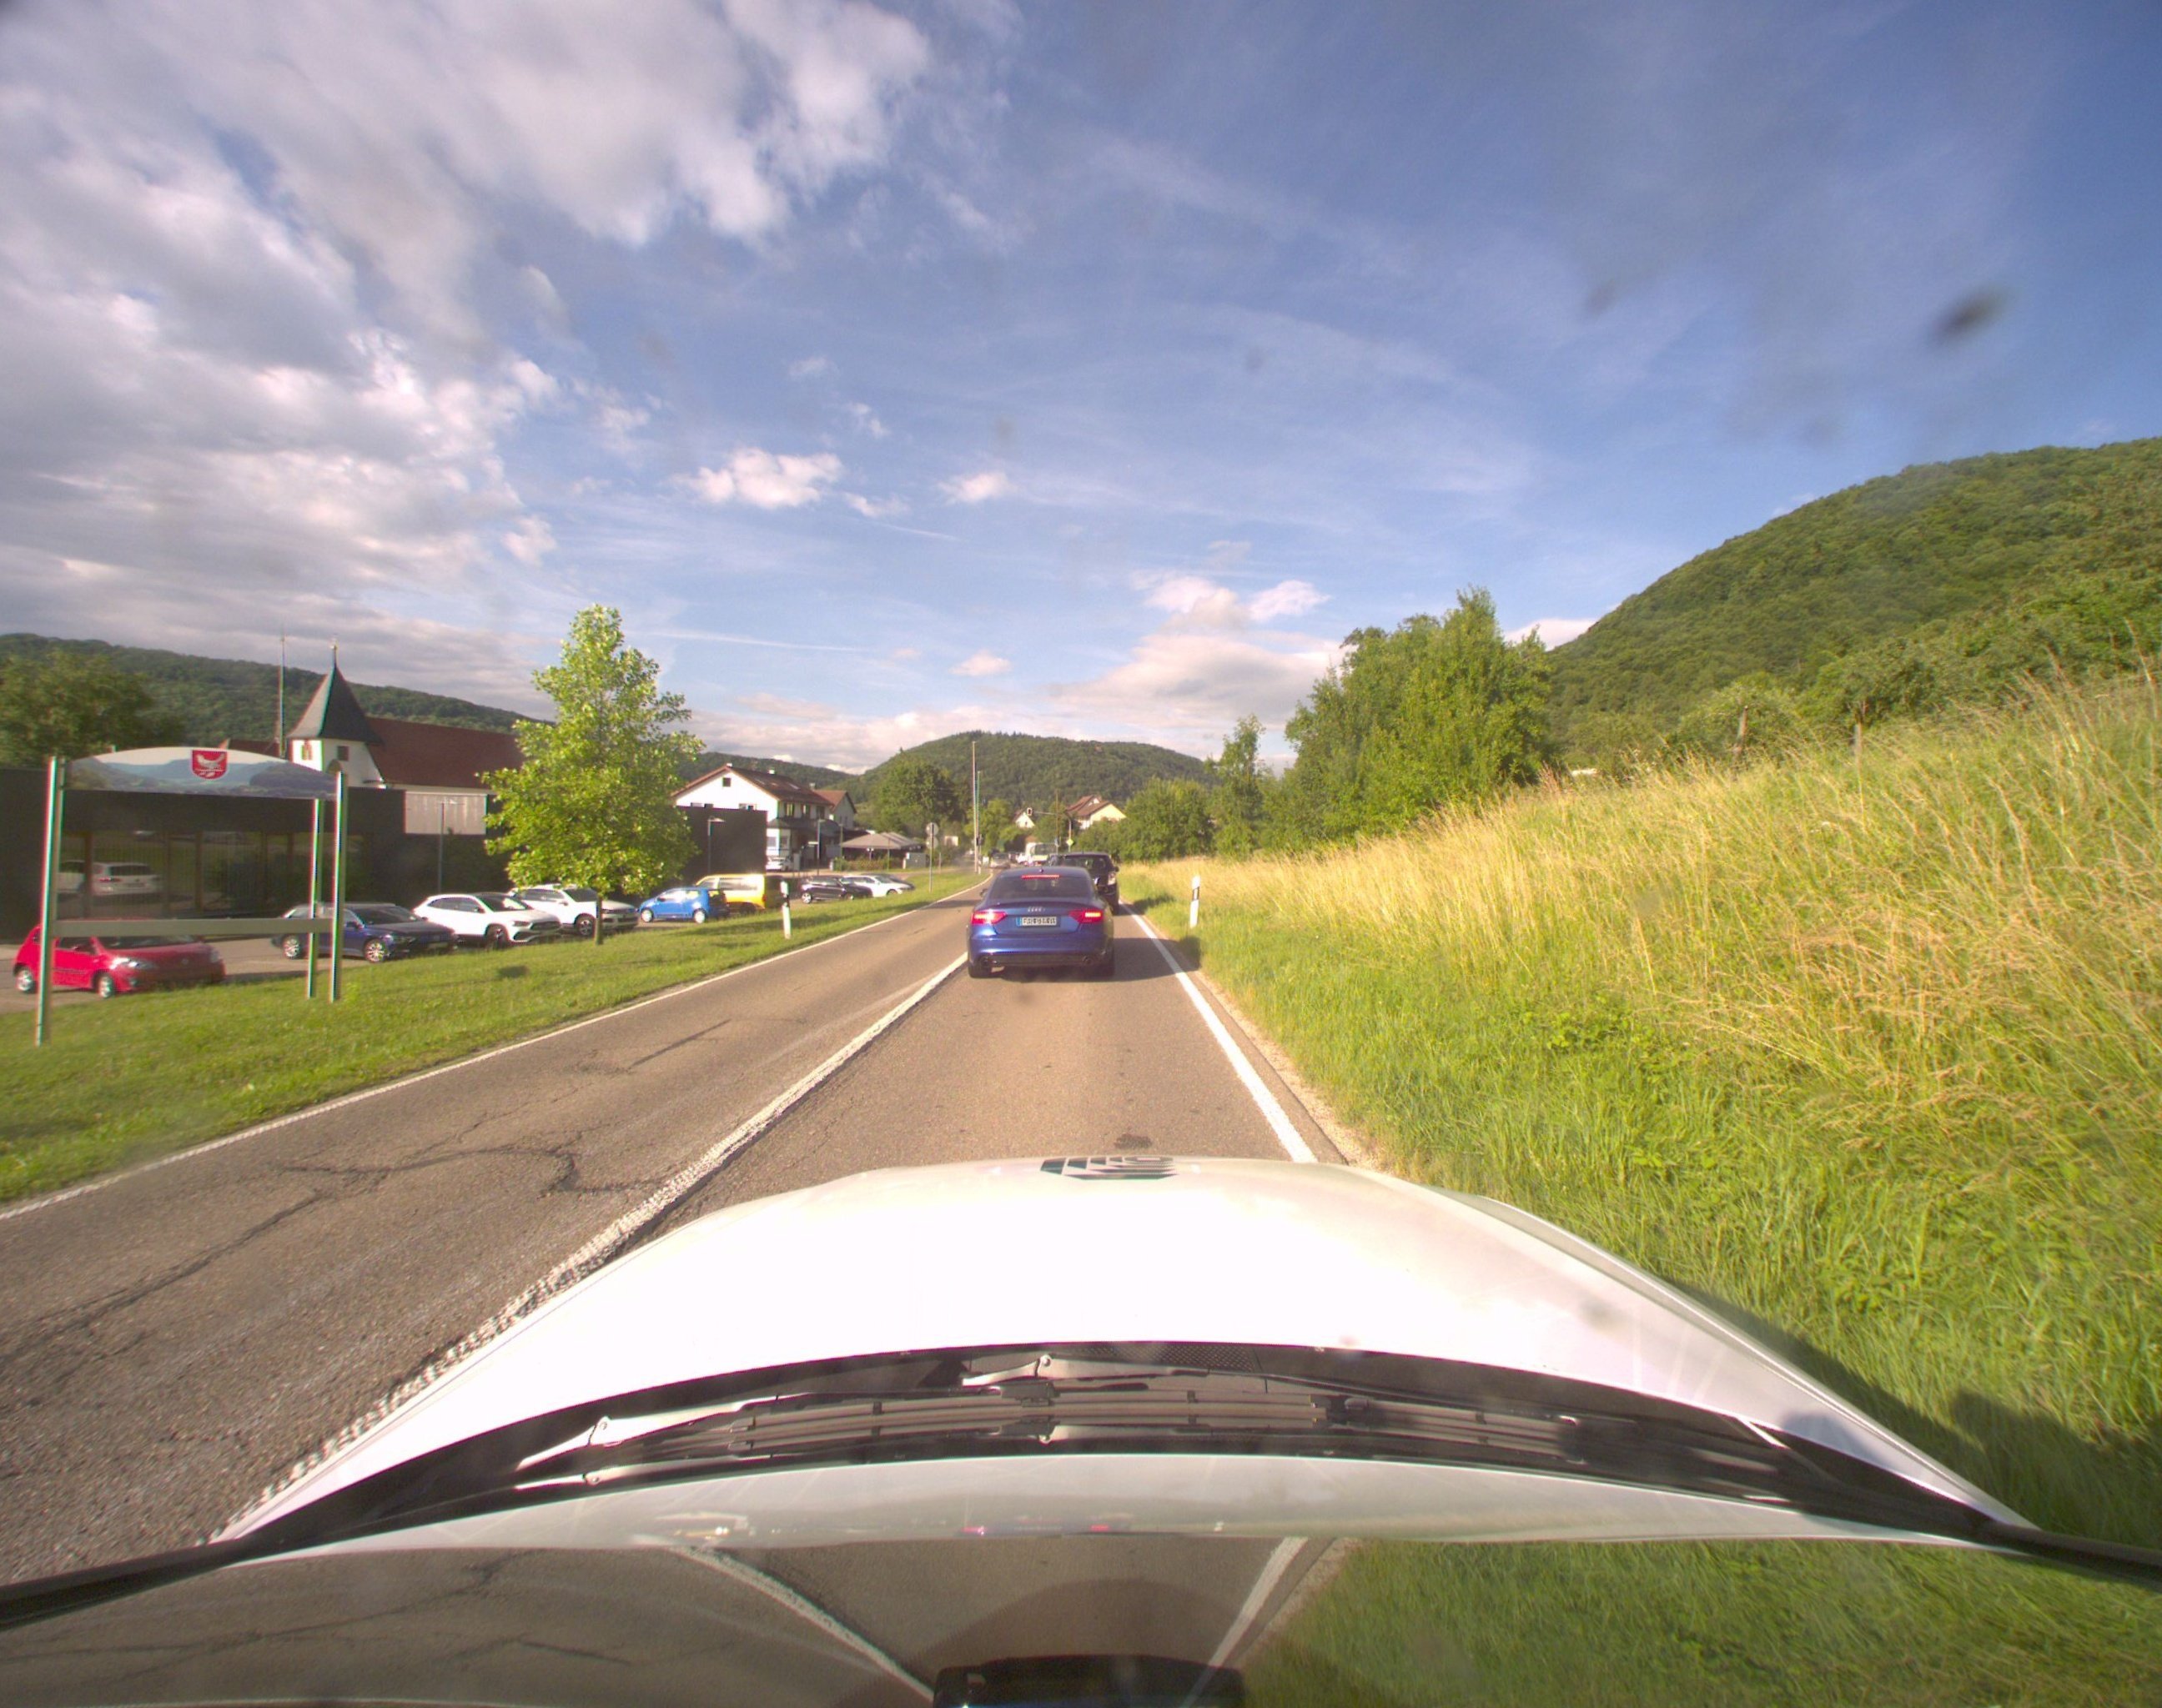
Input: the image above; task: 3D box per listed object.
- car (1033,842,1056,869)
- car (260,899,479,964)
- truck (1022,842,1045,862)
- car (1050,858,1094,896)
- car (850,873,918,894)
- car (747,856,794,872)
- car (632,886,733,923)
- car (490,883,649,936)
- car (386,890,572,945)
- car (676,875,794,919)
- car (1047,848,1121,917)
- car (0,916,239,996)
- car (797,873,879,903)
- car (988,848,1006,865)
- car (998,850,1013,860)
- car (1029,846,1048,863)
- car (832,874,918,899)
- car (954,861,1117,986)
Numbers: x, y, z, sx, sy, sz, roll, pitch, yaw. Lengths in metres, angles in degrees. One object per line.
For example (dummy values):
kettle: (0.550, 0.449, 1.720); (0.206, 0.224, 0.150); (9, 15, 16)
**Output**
car: (-3.137, 0.122, 69.014); (1.743, 2.195, 3.992); (0, -1, -5)
car: (-19.018, 2.025, 21.861); (4.510, 1.555, 2.006); (0, -1, 10)
truck: (-5.084, -0.177, 85.825); (1.698, 1.953, 5.900); (0, -1, -10)
car: (-0.363, 1.008, 37.216); (1.798, 1.639, 4.465); (0, -1, 2)
car: (-12.870, 1.940, 53.370); (3.966, 1.310, 1.764); (0, -1, 6)
car: (-29.081, 0.937, 76.374); (1.749, 1.442, 4.022); (-1, -1, 23)
car: (-16.656, 2.085, 34.100); (3.473, 1.472, 1.636); (0, -1, 8)
car: (-17.841, 1.890, 28.492); (4.510, 1.703, 2.006); (0, -1, 10)
car: (-18.452, 1.907, 25.067); (4.510, 1.555, 2.006); (0, -1, 10)
car: (-15.517, 1.882, 36.633); (4.577, 1.868, 2.007); (0, -1, 14)
car: (0.172, 0.707, 21.503); (1.739, 1.639, 4.003); (0, -1, 3)
car: (-19.783, 2.037, 16.743); (3.697, 1.398, 1.620); (0, -1, 10)
car: (-13.879, 1.931, 46.568); (4.000, 1.637, 2.006); (0, -1, 10)
car: (-8.302, 0.235, 80.973); (1.732, 1.662, 3.464); (0, -1, -5)
car: (-11.255, 0.113, 121.681); (1.700, 1.490, 3.509); (0, -1, -14)
car: (-4.257, 0.061, 80.636); (1.743, 1.639, 3.992); (0, -1, -5)
car: (-12.871, 2.040, 50.993); (4.783, 1.493, 1.886); (0, -1, 10)
car: (-0.437, 0.812, 11.261); (1.788, 1.388, 4.003); (-1, -1, 3)
